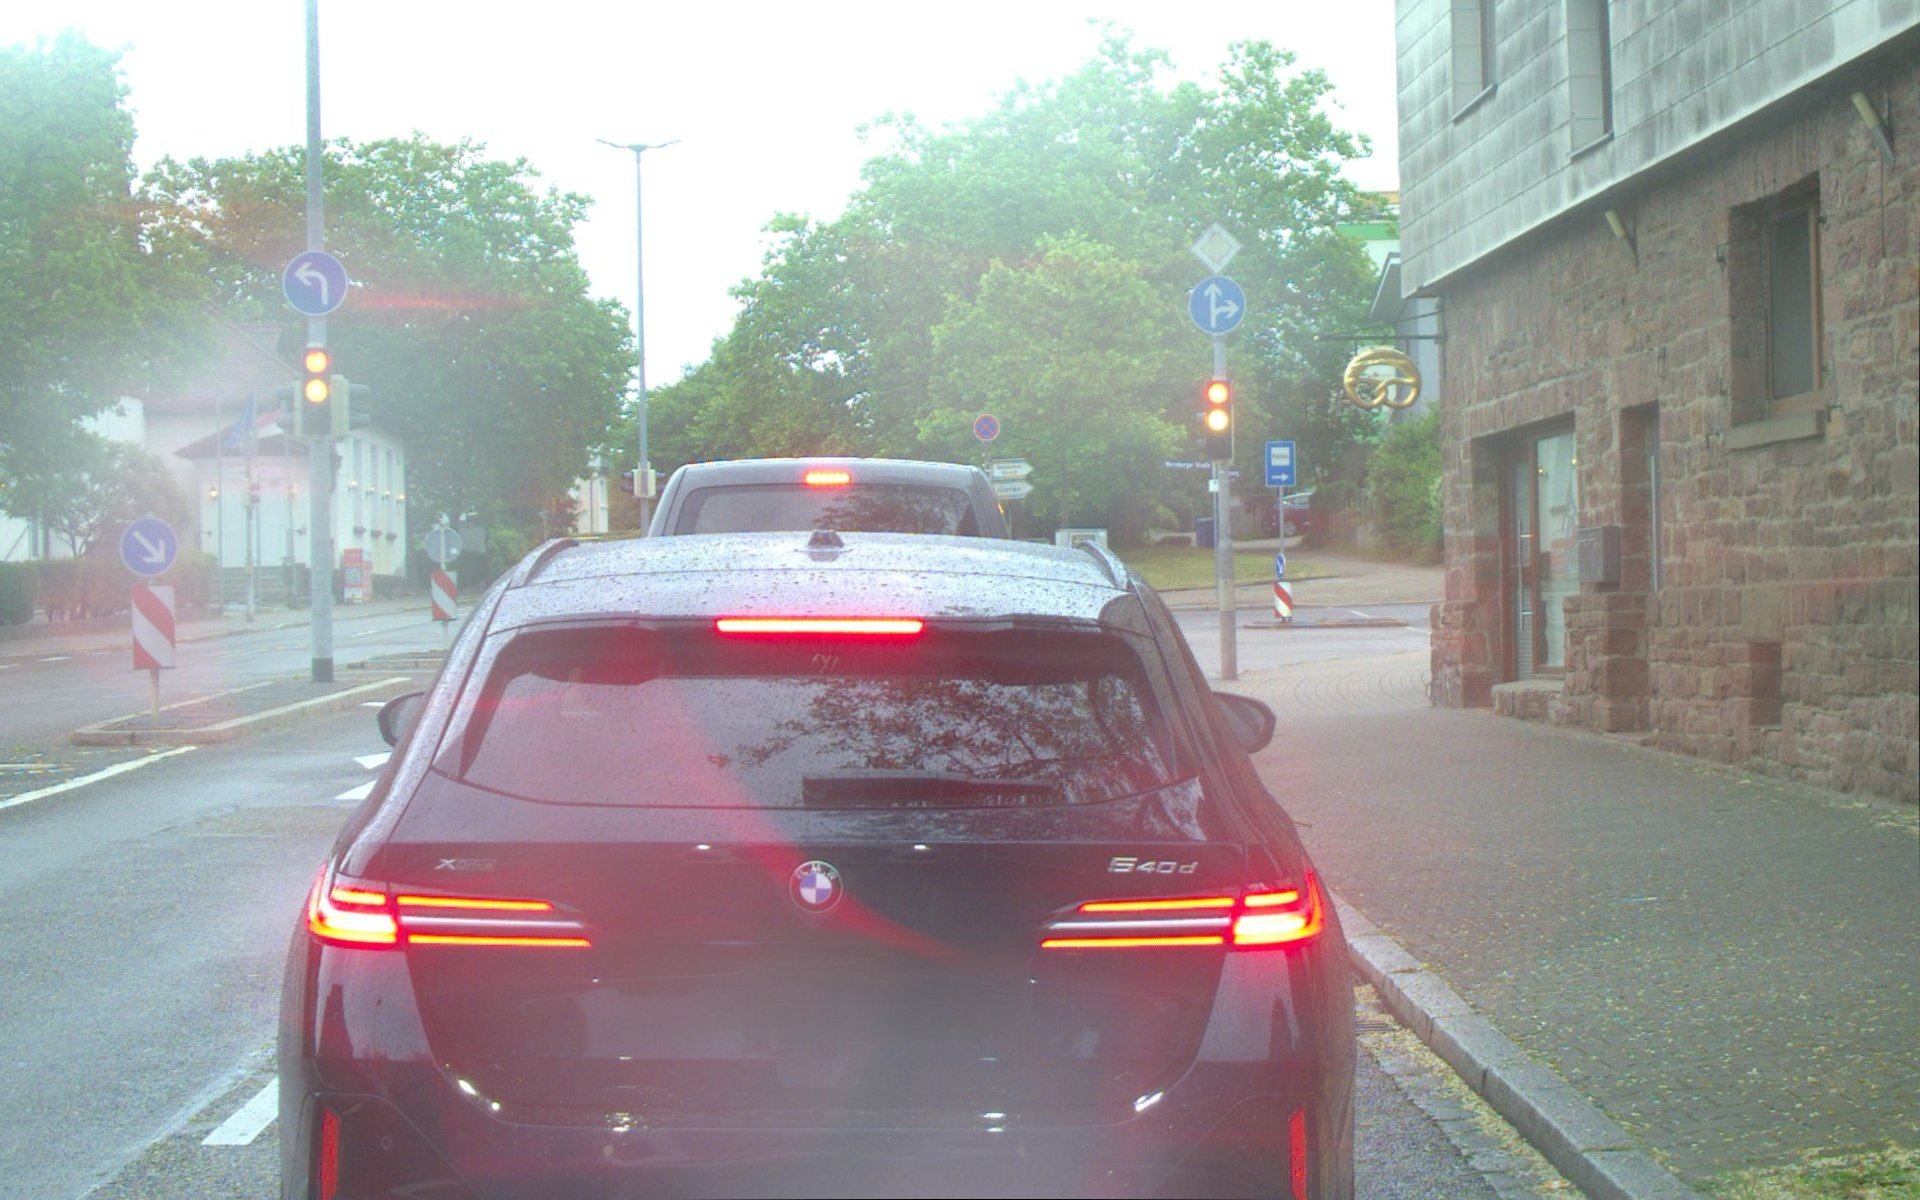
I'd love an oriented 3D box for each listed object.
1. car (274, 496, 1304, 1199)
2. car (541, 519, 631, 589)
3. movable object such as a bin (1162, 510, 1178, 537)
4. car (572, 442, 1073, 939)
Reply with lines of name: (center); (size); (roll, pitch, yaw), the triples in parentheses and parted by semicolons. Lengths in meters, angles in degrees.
car: (-0.361, 0.603, 6.901); (1.523, 1.529, 3.532); (1, 0, -4)
car: (-8.957, -1.123, 82.635); (1.898, 1.572, 4.503); (-1, 2, -4)
movable object such as a bin: (7.051, -2.564, 115.256); (0.450, 0.902, 0.462); (1, 0, 15)
car: (-0.615, 0.318, 14.488); (1.812, 1.802, 3.757); (1, 0, -4)
